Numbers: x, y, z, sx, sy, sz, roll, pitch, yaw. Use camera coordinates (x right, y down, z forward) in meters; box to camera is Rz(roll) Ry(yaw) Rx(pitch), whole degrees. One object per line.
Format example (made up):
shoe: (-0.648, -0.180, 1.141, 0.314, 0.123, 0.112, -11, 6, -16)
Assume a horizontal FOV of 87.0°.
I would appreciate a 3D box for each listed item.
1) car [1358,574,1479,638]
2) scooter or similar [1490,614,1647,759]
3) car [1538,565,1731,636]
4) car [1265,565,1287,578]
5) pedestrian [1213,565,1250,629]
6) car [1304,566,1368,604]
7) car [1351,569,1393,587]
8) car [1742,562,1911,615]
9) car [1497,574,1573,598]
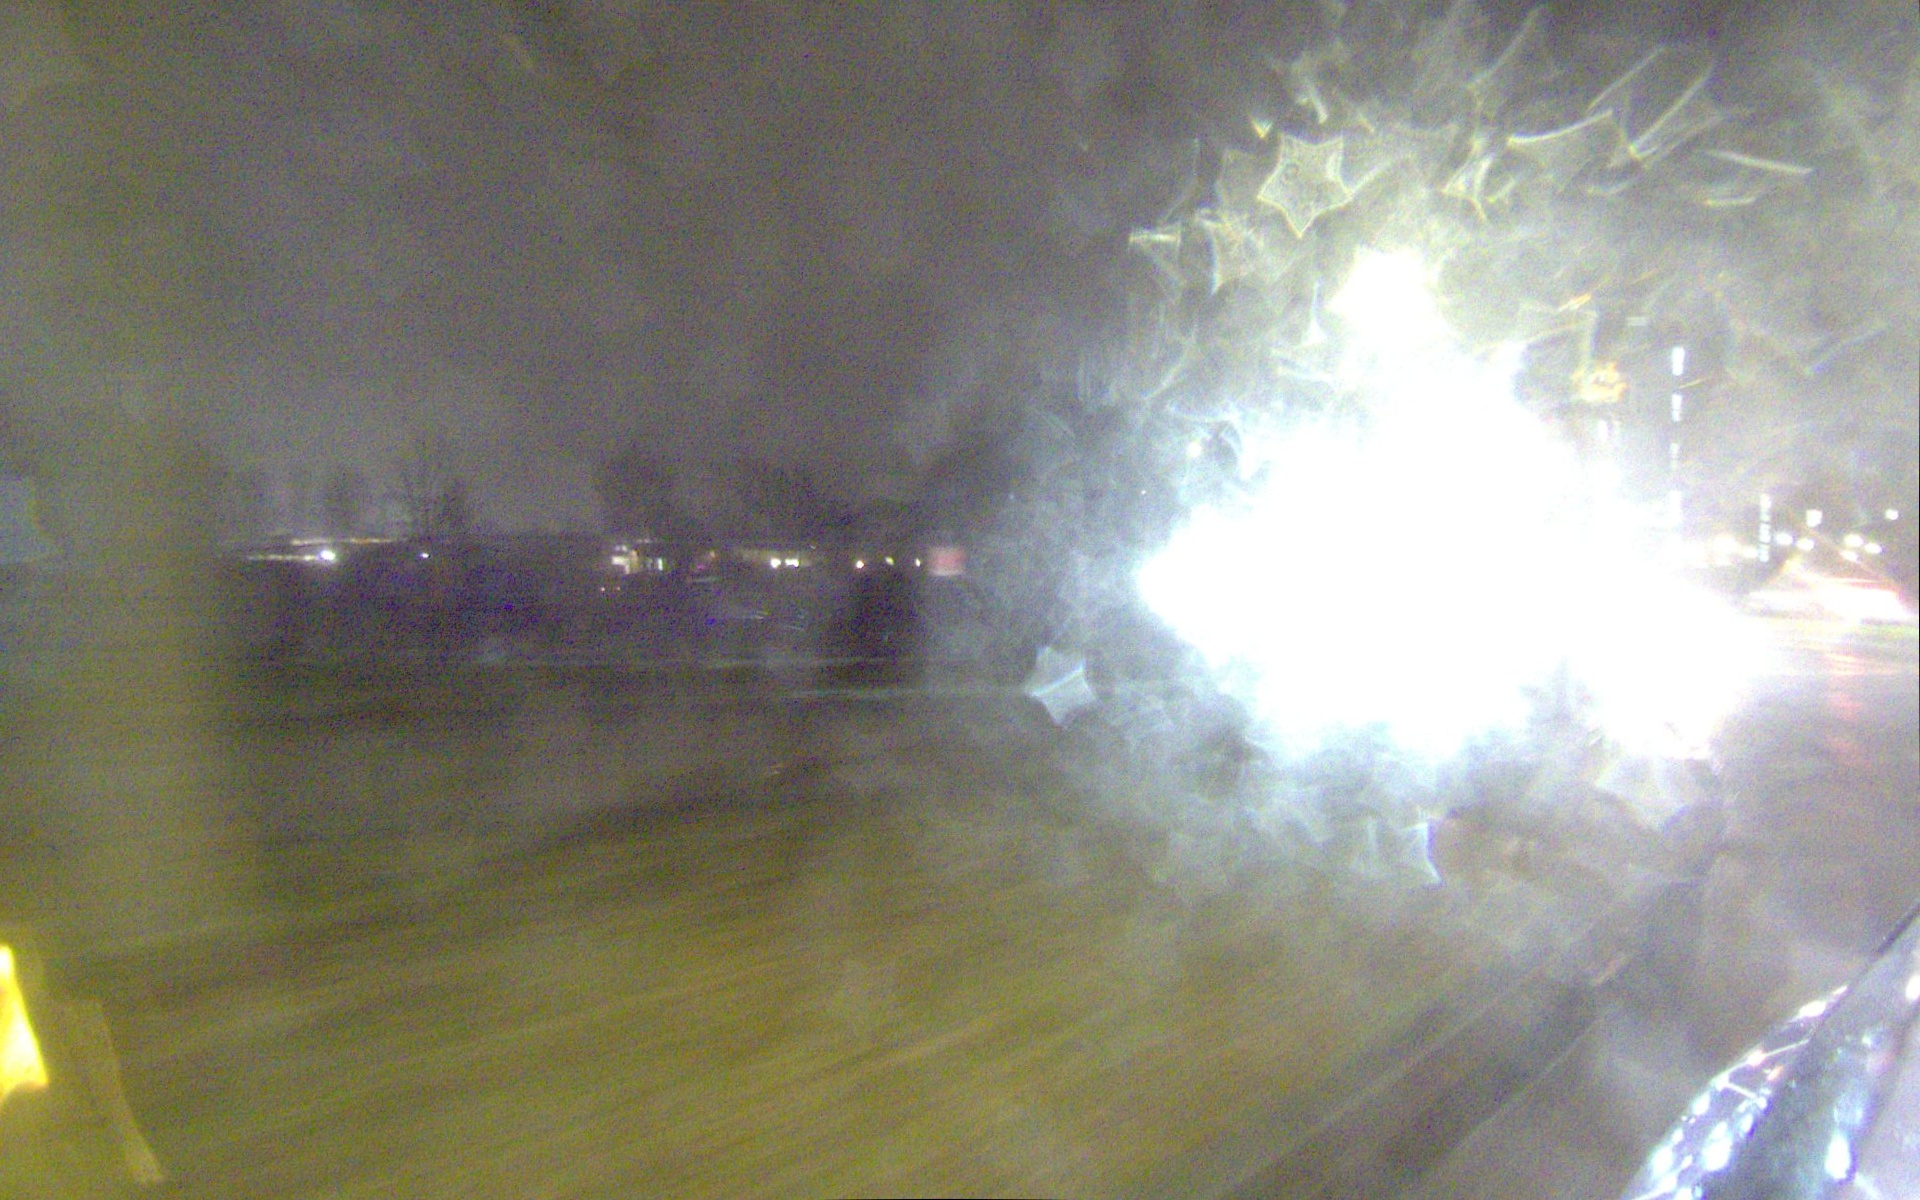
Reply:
car: (13.545, 0.112, 30.212, 1.918, 1.740, 4.436, -1, 2, 6)
scooter or similar: (5.147, 0.705, 8.596, 1.097, 1.111, 0.314, 2, 3, 34)
car: (16.126, -0.058, 24.556, 1.803, 1.545, 4.868, -1, 2, 6)
car: (42.180, -3.785, 135.137, 1.803, 1.735, 4.436, -1, 2, 5)
pedestrian: (6.531, -0.078, 24.367, 0.715, 1.504, 0.835, -1, 1, 5)
car: (17.911, -0.742, 48.422, 1.803, 1.727, 4.189, -1, 2, 6)
car: (34.406, -1.871, 84.586, 1.802, 1.482, 4.656, -1, 2, 4)
car: (30.309, -0.451, 35.662, 2.034, 1.737, 5.033, -1, 2, 6)
car: (35.903, -0.917, 63.396, 1.964, 1.419, 5.346, -1, 2, 4)
